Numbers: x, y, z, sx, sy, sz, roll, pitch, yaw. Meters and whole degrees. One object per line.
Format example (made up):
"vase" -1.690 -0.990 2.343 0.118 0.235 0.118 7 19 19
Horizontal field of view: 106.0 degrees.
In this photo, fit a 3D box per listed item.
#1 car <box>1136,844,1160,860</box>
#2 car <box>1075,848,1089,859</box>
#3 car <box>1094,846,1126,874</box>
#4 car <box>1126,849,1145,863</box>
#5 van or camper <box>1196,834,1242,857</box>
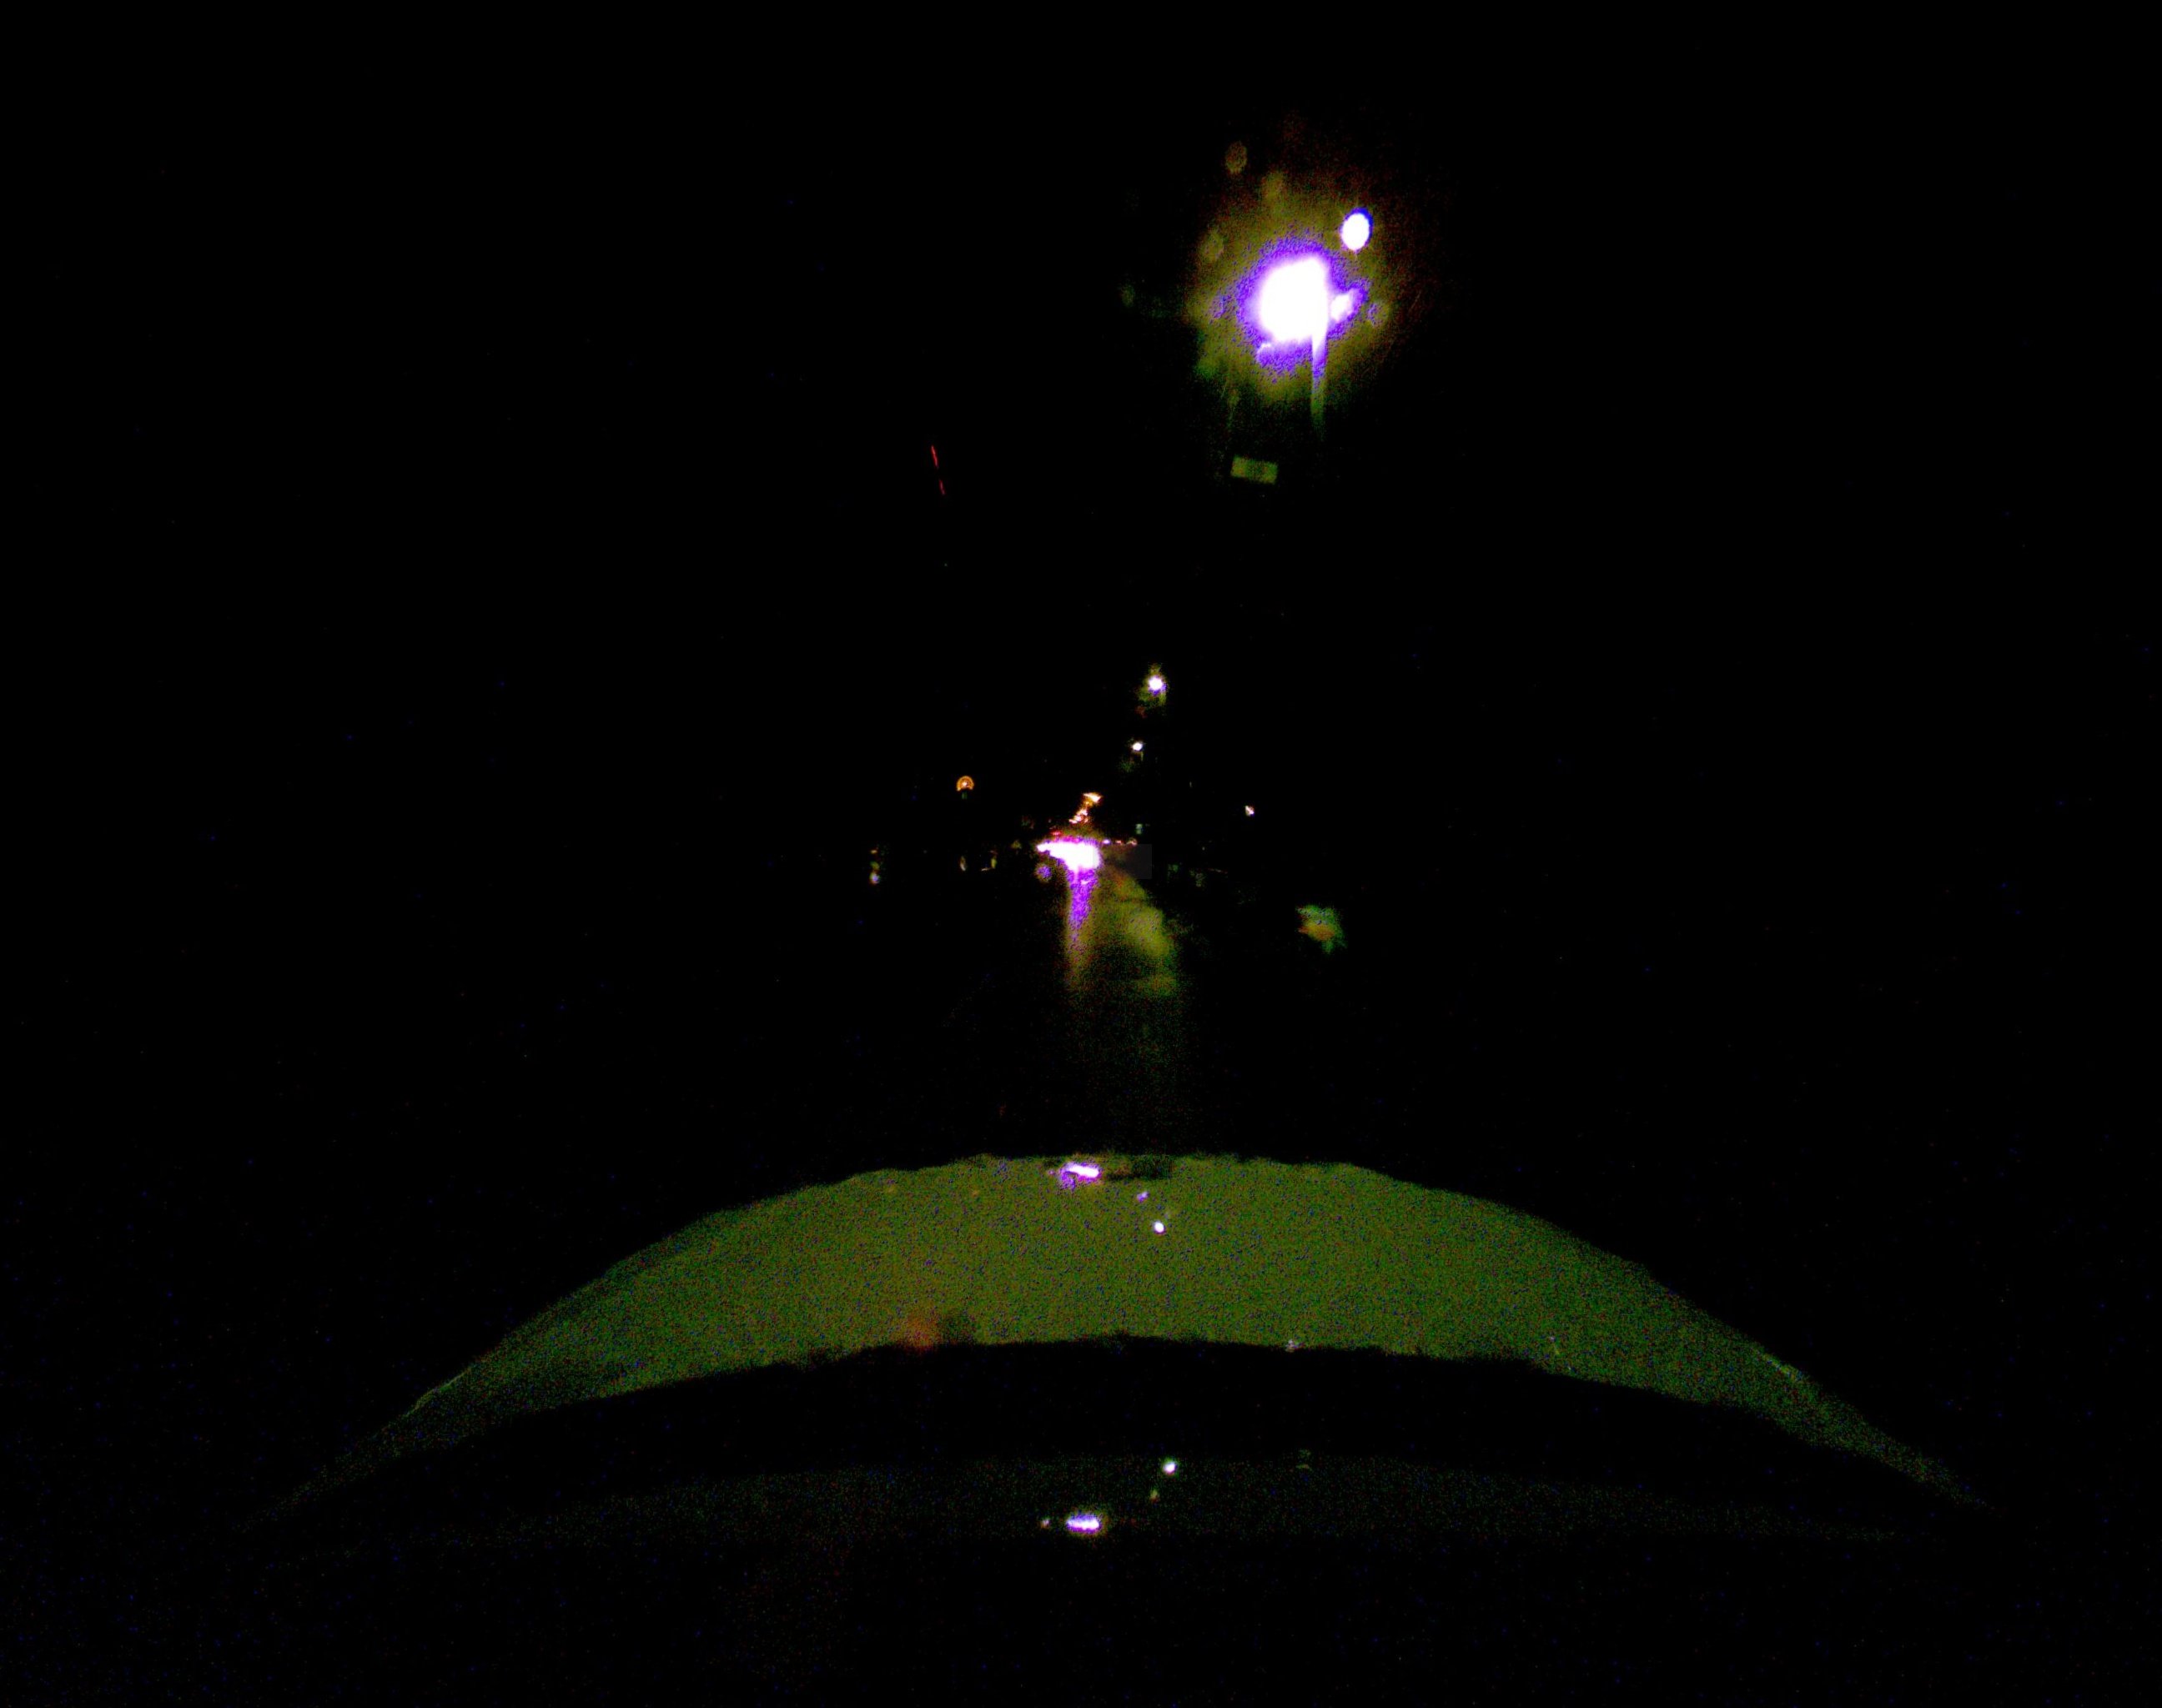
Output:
"car" 6.684 -0.251 81.744 1.785 1.449 4.788 -3 1 -2
"car" 0.184 -0.045 113.449 1.738 1.433 4.003 -2 0 3
"car" 1.861 0.366 53.180 1.986 1.683 4.002 -1 2 1
"car" 6.157 0.233 92.763 1.708 1.488 4.434 -2 0 -1
"van or camper" 16.336 -0.993 96.481 5.042 2.527 2.173 -1 1 2
